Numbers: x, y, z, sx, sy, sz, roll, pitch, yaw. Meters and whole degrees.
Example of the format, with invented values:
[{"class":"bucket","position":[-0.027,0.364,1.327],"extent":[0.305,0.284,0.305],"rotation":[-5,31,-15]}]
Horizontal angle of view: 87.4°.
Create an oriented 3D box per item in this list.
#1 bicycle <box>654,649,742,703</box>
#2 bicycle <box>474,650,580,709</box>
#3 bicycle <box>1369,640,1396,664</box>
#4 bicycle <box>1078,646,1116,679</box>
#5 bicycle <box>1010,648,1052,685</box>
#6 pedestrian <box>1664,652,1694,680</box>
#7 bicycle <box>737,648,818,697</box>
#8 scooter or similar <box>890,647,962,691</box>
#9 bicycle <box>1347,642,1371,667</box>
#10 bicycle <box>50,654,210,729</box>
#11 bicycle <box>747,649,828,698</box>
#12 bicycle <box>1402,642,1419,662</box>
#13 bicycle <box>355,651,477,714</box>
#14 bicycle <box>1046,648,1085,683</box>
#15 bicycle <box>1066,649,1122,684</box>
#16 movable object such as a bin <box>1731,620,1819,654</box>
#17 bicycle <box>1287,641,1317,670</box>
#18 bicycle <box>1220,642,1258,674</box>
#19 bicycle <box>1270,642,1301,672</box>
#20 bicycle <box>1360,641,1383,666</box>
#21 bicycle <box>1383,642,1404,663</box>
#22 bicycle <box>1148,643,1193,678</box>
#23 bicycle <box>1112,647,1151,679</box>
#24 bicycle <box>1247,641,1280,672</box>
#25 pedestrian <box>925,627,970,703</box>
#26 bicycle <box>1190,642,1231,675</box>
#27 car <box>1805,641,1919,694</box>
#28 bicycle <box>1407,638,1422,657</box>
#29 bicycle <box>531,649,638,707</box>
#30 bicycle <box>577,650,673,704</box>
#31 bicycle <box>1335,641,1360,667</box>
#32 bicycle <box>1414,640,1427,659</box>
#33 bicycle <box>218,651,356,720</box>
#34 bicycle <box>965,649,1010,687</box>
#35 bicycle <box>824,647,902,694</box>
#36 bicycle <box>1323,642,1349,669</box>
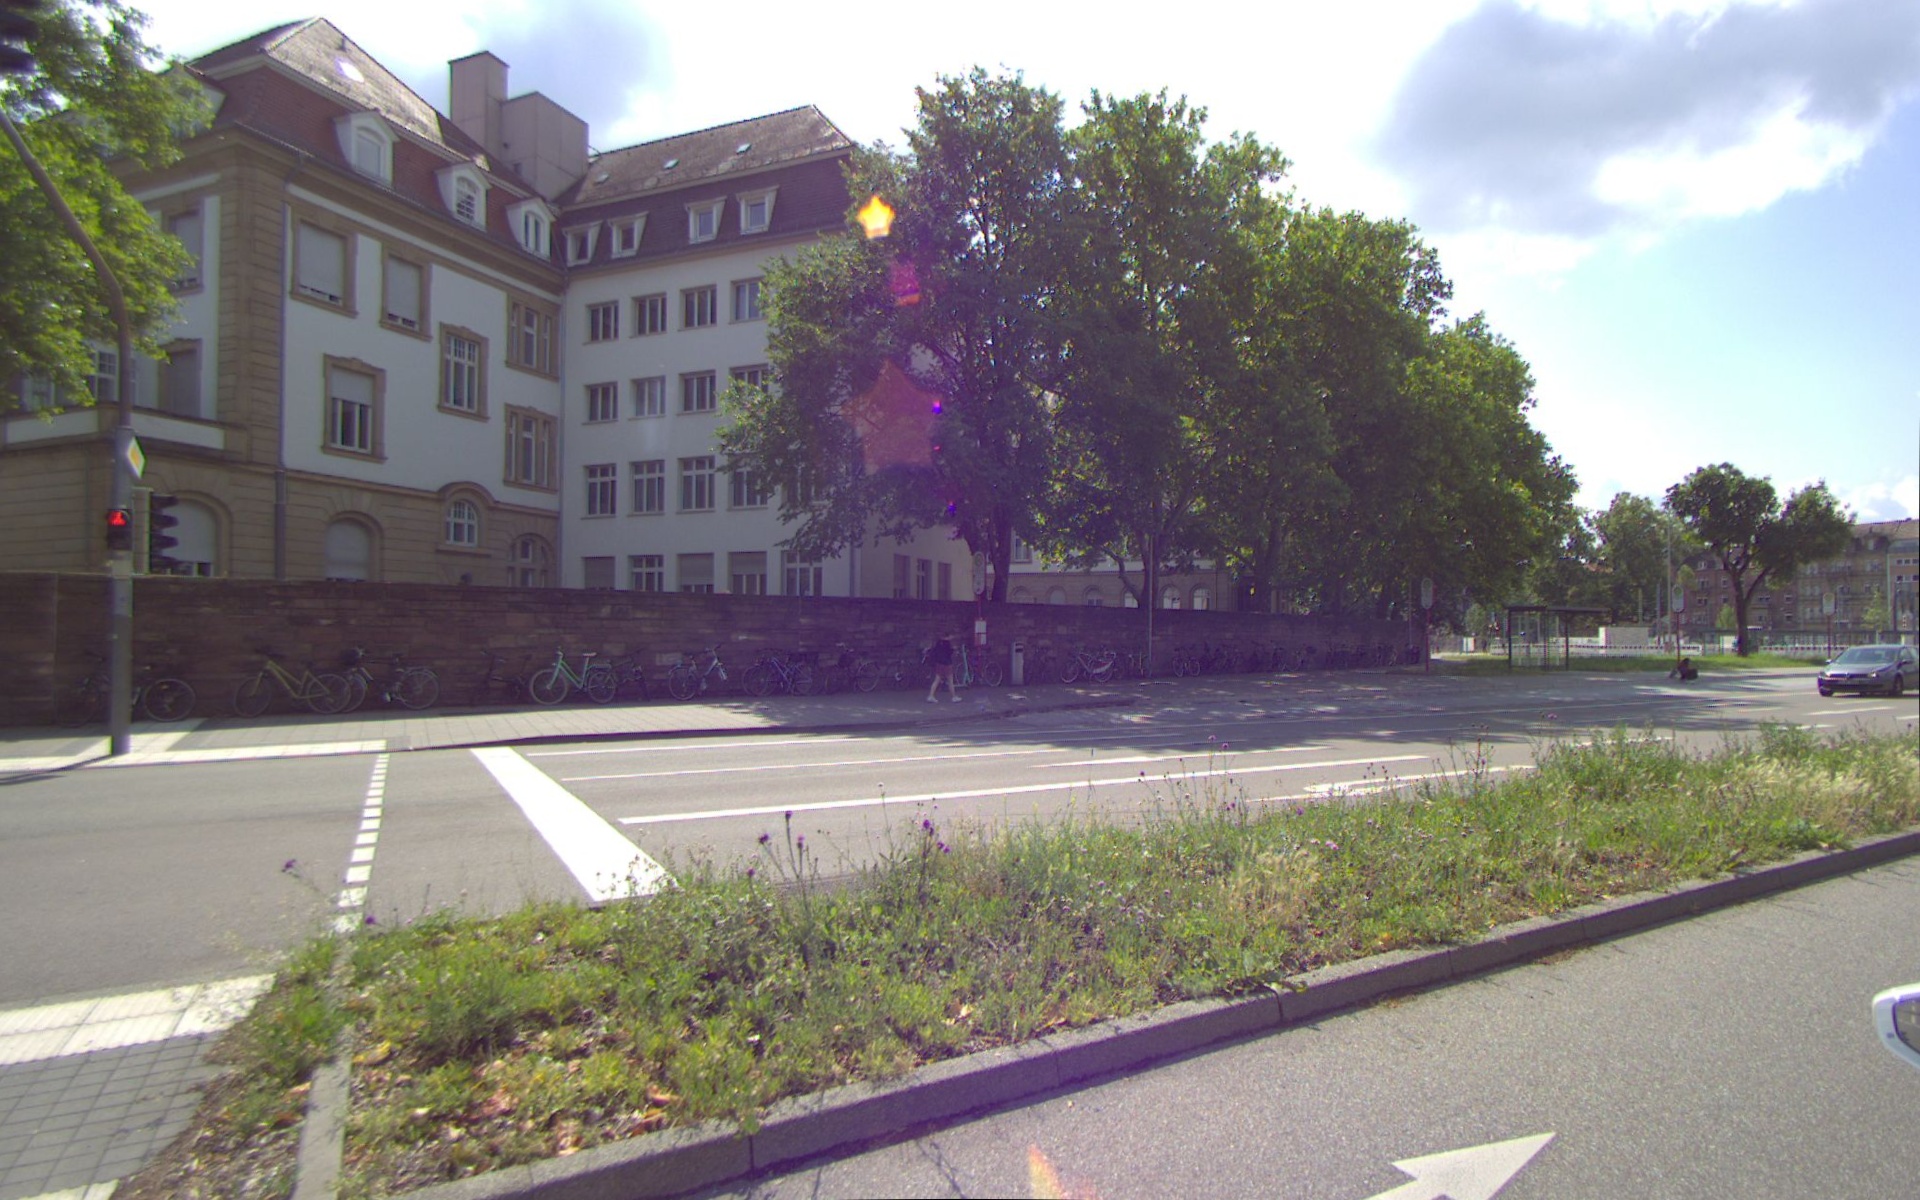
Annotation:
[{"class":"bicycle","position":[-5.531,1.594,21.326],"extent":[0.584,1.062,1.875],"rotation":[-1,-2,35]},{"class":"bicycle","position":[-8.380,1.523,19.487],"extent":[1.865,1.062,0.367],"rotation":[2,-2,-40]},{"class":"bicycle","position":[20.381,2.491,48.449],"extent":[0.576,1.087,1.859],"rotation":[-1,-2,43]},{"class":"bicycle","position":[4.112,1.863,30.139],"extent":[0.362,0.968,1.393],"rotation":[-1,-2,44]},{"class":"bicycle","position":[1.992,1.848,28.114],"extent":[0.362,0.968,1.393],"rotation":[-1,-2,44]},{"class":"pedestrian","position":[26.689,2.436,37.280],"extent":[0.734,0.975,0.691],"rotation":[1,-1,-31]},{"class":"bicycle","position":[-4.135,1.636,22.900],"extent":[1.865,1.062,0.390],"rotation":[2,-2,-40]},{"class":"scooter or similar","position":[-0.835,1.723,25.384],"extent":[1.865,1.062,0.575],"rotation":[2,-2,-40]},{"class":"bicycle","position":[18.085,2.455,45.473],"extent":[0.575,1.087,1.625],"rotation":[-1,-2,38]},{"class":"bicycle","position":[-12.847,1.388,15.610],"extent":[1.865,1.062,0.624],"rotation":[2,-2,-40]},{"class":"bicycle","position":[-3.868,1.637,22.603],"extent":[1.865,1.062,0.369],"rotation":[2,-2,-40]},{"class":"bicycle","position":[24.103,2.761,53.746],"extent":[0.465,1.024,1.450],"rotation":[-1,-2,39]},{"class":"bicycle","position":[-9.828,1.462,18.181],"extent":[1.865,1.062,0.559],"rotation":[2,-2,-40]},{"class":"bicycle","position":[3.059,1.879,29.075],"extent":[0.362,0.968,1.393],"rotation":[-1,-2,44]},{"class":"bicycle","position":[3.832,1.897,28.685],"extent":[1.601,0.968,0.366],"rotation":[1,-1,-22]},{"class":"movable object such as a bin","position":[71.388,3.242,88.077],"extent":[5.430,2.922,2.290],"rotation":[0,-2,14]},{"class":"bicycle","position":[13.590,2.196,39.867],"extent":[0.575,1.087,1.748],"rotation":[-1,-2,38]},{"class":"bicycle","position":[9.944,2.046,35.769],"extent":[0.576,1.087,1.746],"rotation":[-1,-2,43]},{"class":"bicycle","position":[12.437,2.152,38.387],"extent":[0.575,1.087,1.748],"rotation":[-1,-2,38]},{"class":"bicycle","position":[19.197,2.489,46.900],"extent":[0.575,1.087,1.625],"rotation":[-1,-2,38]},{"class":"bicycle","position":[21.692,2.627,50.284],"extent":[0.465,1.024,1.955],"rotation":[-1,-2,39]},{"class":"bicycle","position":[6.786,1.925,32.374],"extent":[0.576,1.087,1.745],"rotation":[-1,-2,44]},{"class":"bicycle","position":[5.336,1.946,31.173],"extent":[0.366,0.968,1.617],"rotation":[-1,-2,44]},{"class":"bicycle","position":[11.221,2.069,37.059],"extent":[0.575,1.087,1.748],"rotation":[-1,-2,38]},{"class":"pedestrian","position":[-0.270,1.409,22.033],"extent":[0.738,1.631,0.651],"rotation":[1,-1,-38]},{"class":"bicycle","position":[8.550,1.983,34.289],"extent":[0.576,1.087,1.745],"rotation":[-1,-2,44]},{"class":"car","position":[26.564,1.927,29.289],"extent":[4.097,1.464,1.692],"rotation":[1,-3,-31]},{"class":"bicycle","position":[24.902,2.595,55.006],"extent":[0.386,1.024,1.364],"rotation":[-1,-2,39]},{"class":"bicycle","position":[-7.303,1.489,19.579],"extent":[1.865,1.062,0.587],"rotation":[2,-2,-40]},{"class":"bicycle","position":[-6.871,1.564,20.667],"extent":[1.865,1.062,0.367],"rotation":[2,-2,-40]},{"class":"bicycle","position":[17.016,2.370,44.066],"extent":[0.575,1.087,1.625],"rotation":[-1,-2,38]},{"class":"bicycle","position":[25.749,2.756,56.124],"extent":[0.348,1.024,1.249],"rotation":[-1,-2,39]},{"class":"bicycle","position":[-11.286,1.412,16.889],"extent":[1.865,1.062,0.624],"rotation":[2,-2,-40]},{"class":"bicycle","position":[0.758,1.808,26.899],"extent":[0.362,0.968,1.393],"rotation":[-1,-2,44]},{"class":"bicycle","position":[-2.314,1.683,24.185],"extent":[1.865,1.062,0.575],"rotation":[2,-2,-40]},{"class":"bicycle","position":[15.984,2.340,42.721],"extent":[0.575,1.087,1.625],"rotation":[-1,-2,38]}]
